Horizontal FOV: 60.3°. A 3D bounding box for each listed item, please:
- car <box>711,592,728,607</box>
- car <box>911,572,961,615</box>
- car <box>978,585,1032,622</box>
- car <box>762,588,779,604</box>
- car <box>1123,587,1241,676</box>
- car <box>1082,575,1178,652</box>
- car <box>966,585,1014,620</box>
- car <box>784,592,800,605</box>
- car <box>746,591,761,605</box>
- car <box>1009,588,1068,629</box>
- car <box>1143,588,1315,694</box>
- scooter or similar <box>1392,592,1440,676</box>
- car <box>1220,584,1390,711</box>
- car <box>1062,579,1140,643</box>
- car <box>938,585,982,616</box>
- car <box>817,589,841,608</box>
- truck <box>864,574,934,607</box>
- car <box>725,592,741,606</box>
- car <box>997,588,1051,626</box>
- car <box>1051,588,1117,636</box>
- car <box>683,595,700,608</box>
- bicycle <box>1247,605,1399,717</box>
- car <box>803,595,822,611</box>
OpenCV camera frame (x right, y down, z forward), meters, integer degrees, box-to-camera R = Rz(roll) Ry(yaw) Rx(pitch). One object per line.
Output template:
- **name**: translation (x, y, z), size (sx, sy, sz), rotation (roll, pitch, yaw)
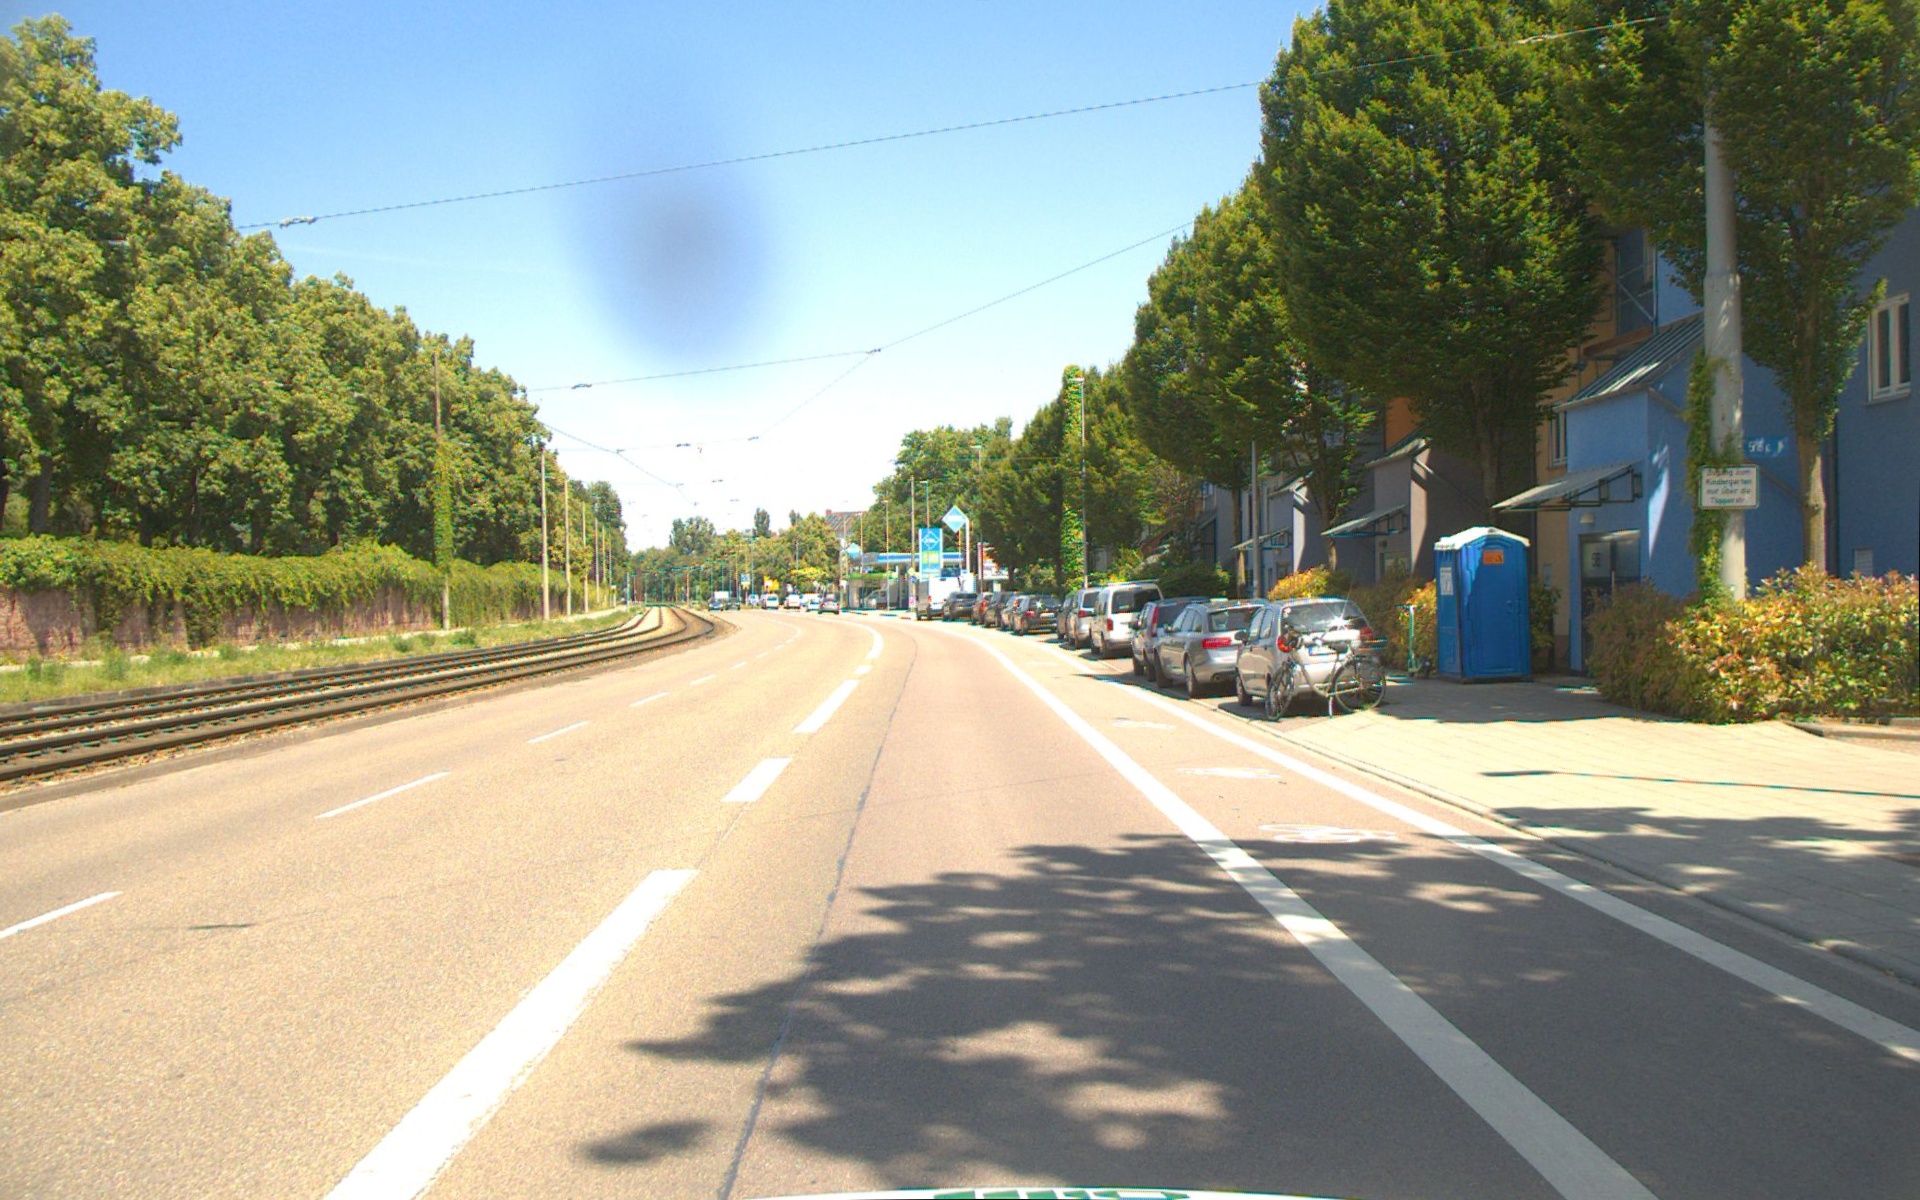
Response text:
- **car**: translation (-27.651, -0.045, 190.008), size (1.724, 1.535, 4.314), rotation (-3, 1, -10)
- **car**: translation (-1.544, -0.402, 103.481), size (1.965, 2.499, 6.093), rotation (-3, 1, -11)
- **car**: translation (2.080, 0.135, 77.543), size (1.676, 1.589, 4.313), rotation (-3, 1, -10)
- **car**: translation (-23.818, -0.541, 207.829), size (1.724, 1.907, 4.314), rotation (-3, 1, -10)
- **car**: translation (4.421, 0.580, 33.425), size (1.803, 1.556, 4.216), rotation (-3, 1, 1)
- **car**: translation (4.396, 0.309, 43.366), size (1.804, 1.825, 4.352), rotation (-3, 1, -2)
- **car**: translation (1.478, 0.104, 83.447), size (1.675, 1.589, 4.315), rotation (-3, 1, -8)
- **car**: translation (-21.591, -0.210, 212.689), size (1.724, 1.658, 4.314), rotation (-3, 1, -10)
- **car**: translation (-26.014, -0.274, 208.290), size (1.723, 1.658, 4.316), rotation (-3, 1, -8)
- **car**: translation (3.111, 0.309, 66.383), size (1.674, 1.518, 5.033), rotation (-3, 1, -5)
- **car**: translation (4.486, 0.622, 28.389), size (1.804, 1.556, 4.962), rotation (-3, 1, -3)
- **scooter or similar**: translation (7.313, 0.526, 26.573), size (0.376, 1.302, 1.338), rotation (1, 0, -1)
- **car**: translation (4.780, 0.595, 23.387), size (1.488, 1.556, 3.816), rotation (-3, 1, -1)
- **car**: translation (4.160, 0.277, 49.546), size (1.803, 1.723, 4.778), rotation (-3, 1, 0)
- **car**: translation (-0.038, 0.017, 93.394), size (1.724, 1.658, 4.314), rotation (-3, 1, -10)
- **car**: translation (-11.986, -0.167, 151.527), size (1.724, 1.658, 4.314), rotation (-3, 1, -10)
- **truck**: translation (-6.922, -1.089, 187.387), size (7.810, 3.665, 2.661), rotation (-1, 0, -4)
- **car**: translation (-28.732, -0.188, 209.244), size (1.724, 1.658, 4.314), rotation (-3, 1, -10)
- **car**: translation (2.741, 0.269, 72.046), size (1.674, 1.518, 4.726), rotation (-3, 1, -6)
- **car**: translation (4.074, 0.371, 54.910), size (1.552, 1.448, 4.177), rotation (-3, 1, -3)
- **car**: translation (-36.070, 0.173, 222.167), size (1.727, 1.659, 4.306), rotation (-3, 1, -15)
- **bicycle**: translation (4.668, 0.781, 21.346), size (1.737, 1.249, 0.684), rotation (-6, 0, 3)
- **car**: translation (-16.180, 0.353, 181.443), size (1.723, 1.658, 4.316), rotation (-3, 1, -8)
